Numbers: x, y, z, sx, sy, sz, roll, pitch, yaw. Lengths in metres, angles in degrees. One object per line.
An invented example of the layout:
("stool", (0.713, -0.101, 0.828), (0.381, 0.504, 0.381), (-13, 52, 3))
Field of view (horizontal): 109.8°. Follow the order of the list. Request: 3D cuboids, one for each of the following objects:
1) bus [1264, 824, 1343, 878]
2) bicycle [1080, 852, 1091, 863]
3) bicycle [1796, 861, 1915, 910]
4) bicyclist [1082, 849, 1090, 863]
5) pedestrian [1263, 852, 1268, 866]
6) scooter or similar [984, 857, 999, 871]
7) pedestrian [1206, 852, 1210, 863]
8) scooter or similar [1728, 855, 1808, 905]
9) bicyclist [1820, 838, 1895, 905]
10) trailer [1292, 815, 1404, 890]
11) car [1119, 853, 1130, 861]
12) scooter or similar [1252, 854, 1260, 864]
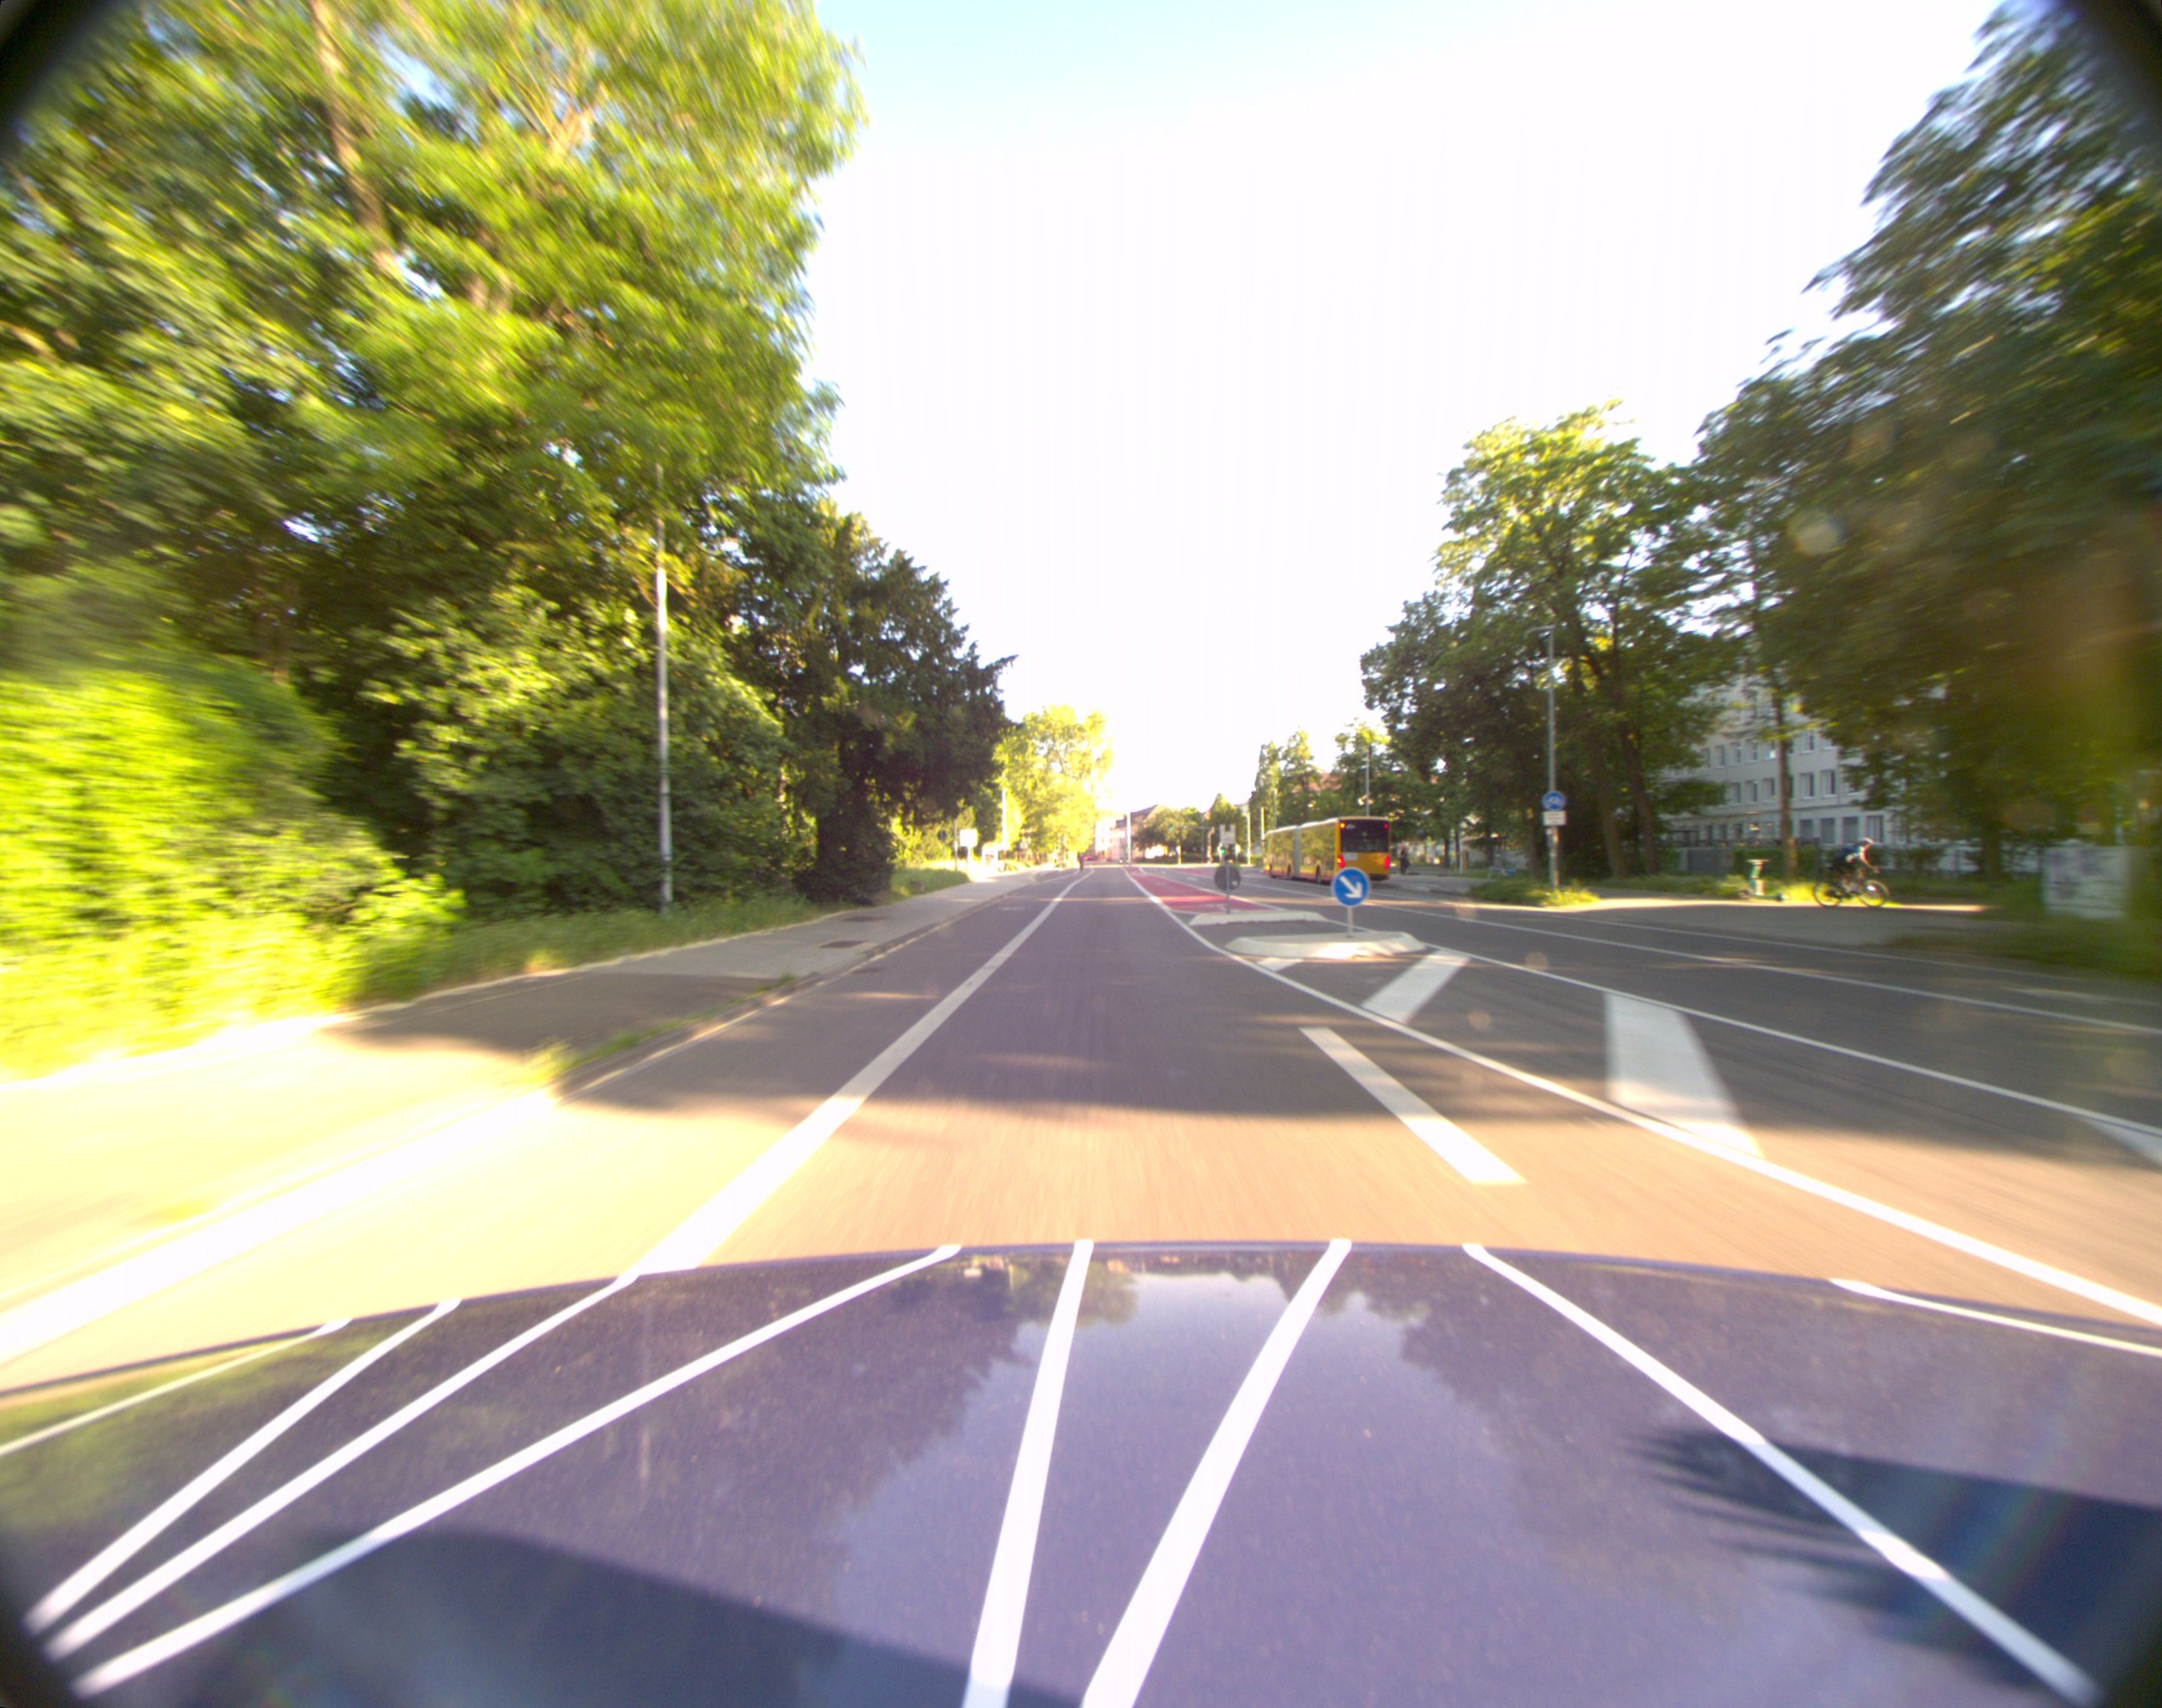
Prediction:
("bus", (14.086, -0.194, 48.841), (2.847, 3.178, 8.600), (0, 0, 2))
("bicycle", (0.481, 0.347, 77.777), (0.694, 1.089, 2.138), (0, 0, 12))
("bicycle", (19.043, 0.760, 18.698), (2.135, 1.089, 0.893), (-2, 0, -6))
("bicyclist", (0.478, 0.198, 77.745), (0.694, 1.482, 0.801), (0, 1, 12))
("pedestrian", (20.201, 0.496, 83.207), (0.452, 1.525, 0.571), (1, 1, -3))
("scooter or similar", (-7.900, 0.855, 66.853), (0.722, 1.240, 1.330), (0, 0, 24))
("pedestrian", (21.119, 0.571, 125.990), (0.691, 1.672, 0.681), (0, 1, 10))
("scooter or similar", (18.999, 0.695, 21.058), (0.829, 1.303, 1.571), (0, 0, 1))
("bicyclist", (19.107, 0.418, 18.706), (0.881, 1.558, 0.862), (-4, 0, -6))
("trailer", (13.659, -0.116, 39.837), (2.861, 3.336, 9.363), (-3, 0, 3))
("car", (8.093, 0.591, 141.260), (1.722, 1.409, 4.526), (-1, 0, 0))
("scooter or similar", (23.109, 0.609, 100.266), (0.693, 1.286, 1.499), (0, 1, 31))
